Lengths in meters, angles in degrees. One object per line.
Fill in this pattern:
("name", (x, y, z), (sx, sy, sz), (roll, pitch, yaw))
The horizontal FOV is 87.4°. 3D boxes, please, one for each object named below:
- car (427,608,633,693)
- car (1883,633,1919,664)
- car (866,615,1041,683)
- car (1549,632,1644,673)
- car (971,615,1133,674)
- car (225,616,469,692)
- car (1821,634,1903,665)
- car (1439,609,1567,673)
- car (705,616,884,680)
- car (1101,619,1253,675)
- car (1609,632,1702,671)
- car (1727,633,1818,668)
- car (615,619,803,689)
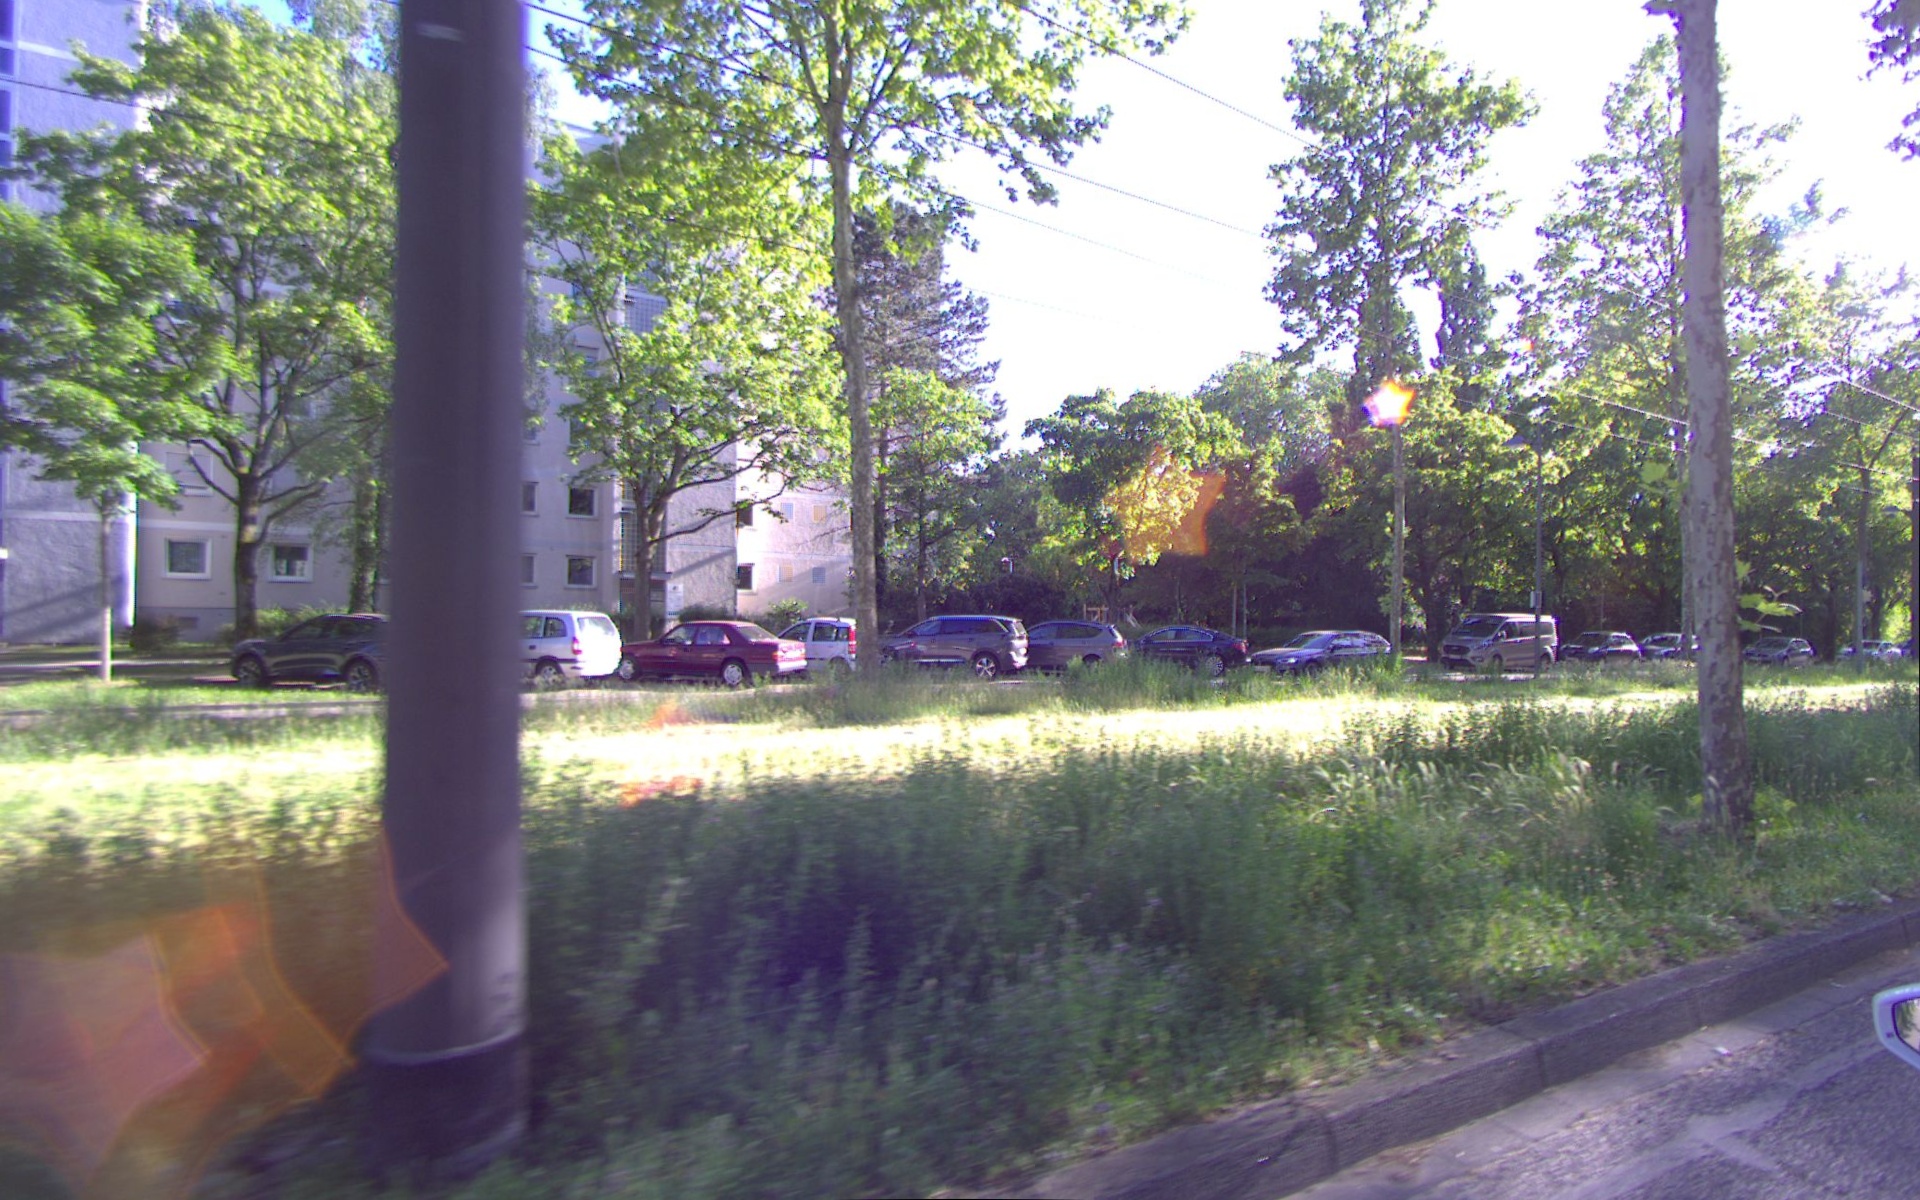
("car", (-9.326, 1.046, 21.861), (3.900, 1.697, 1.788), (0, -1, 18))
("car", (54.318, 2.767, 56.680), (4.116, 1.611, 1.985), (2, 1, -28))
("car", (-0.158, 1.289, 27.199), (4.397, 1.697, 1.796), (0, -1, 18))
("car", (25.700, 2.101, 40.556), (3.618, 1.472, 1.638), (2, 1, -28))
("car", (2.690, 1.270, 29.164), (4.397, 1.589, 1.796), (0, -1, 18))
("car", (-12.089, 1.022, 19.886), (4.048, 1.355, 1.796), (0, -1, 14))
("car", (47.948, 2.625, 53.394), (3.950, 1.472, 1.985), (2, 1, -28))
("car", (19.798, 1.490, 36.580), (4.854, 2.121, 1.638), (2, 1, -28))
("car", (-4.286, 1.199, 25.950), (4.401, 1.501, 1.617), (0, -1, 24))
("car", (6.681, 1.417, 30.888), (4.397, 1.589, 1.796), (0, -1, 18))
("car", (29.738, 2.195, 42.951), (3.530, 1.472, 1.864), (2, 1, -28))
("car", (39.014, 2.412, 48.225), (3.950, 1.472, 1.985), (2, 1, -28))
("car", (-5.826, 1.233, 23.487), (3.842, 1.507, 1.797), (0, -1, 13))
